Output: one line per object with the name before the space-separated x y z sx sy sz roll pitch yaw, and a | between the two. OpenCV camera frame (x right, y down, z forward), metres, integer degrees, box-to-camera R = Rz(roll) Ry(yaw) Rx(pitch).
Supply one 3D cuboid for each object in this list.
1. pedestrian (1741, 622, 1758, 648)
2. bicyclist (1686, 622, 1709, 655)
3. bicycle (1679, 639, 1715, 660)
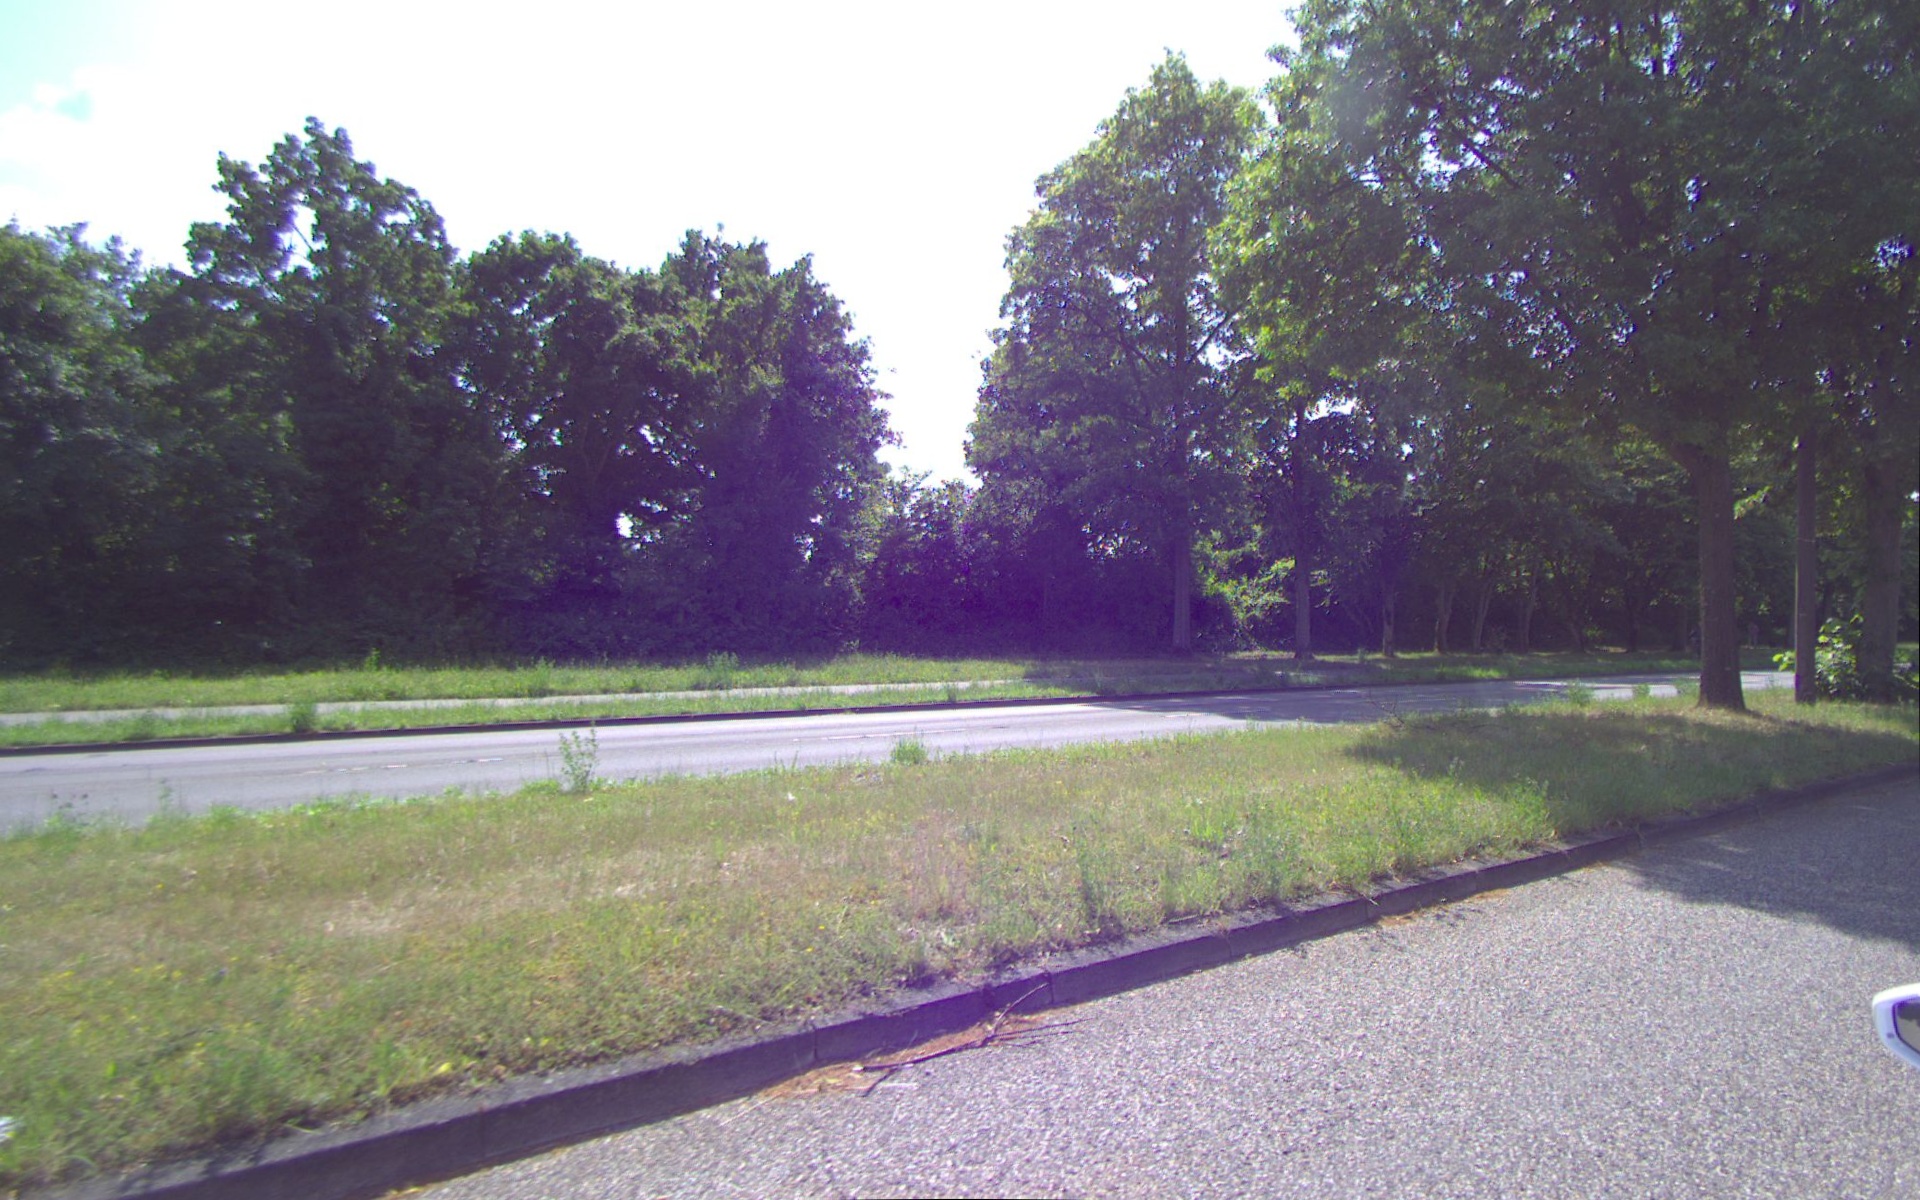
pedestrian | 51.163 2.250 65.105 0.649 1.652 0.640 1 1 -33
bicyclist | 33.242 1.734 45.290 0.721 1.467 0.615 1 -1 -31
bicycle | 33.239 2.221 45.290 1.893 0.890 0.615 1 -1 -31
